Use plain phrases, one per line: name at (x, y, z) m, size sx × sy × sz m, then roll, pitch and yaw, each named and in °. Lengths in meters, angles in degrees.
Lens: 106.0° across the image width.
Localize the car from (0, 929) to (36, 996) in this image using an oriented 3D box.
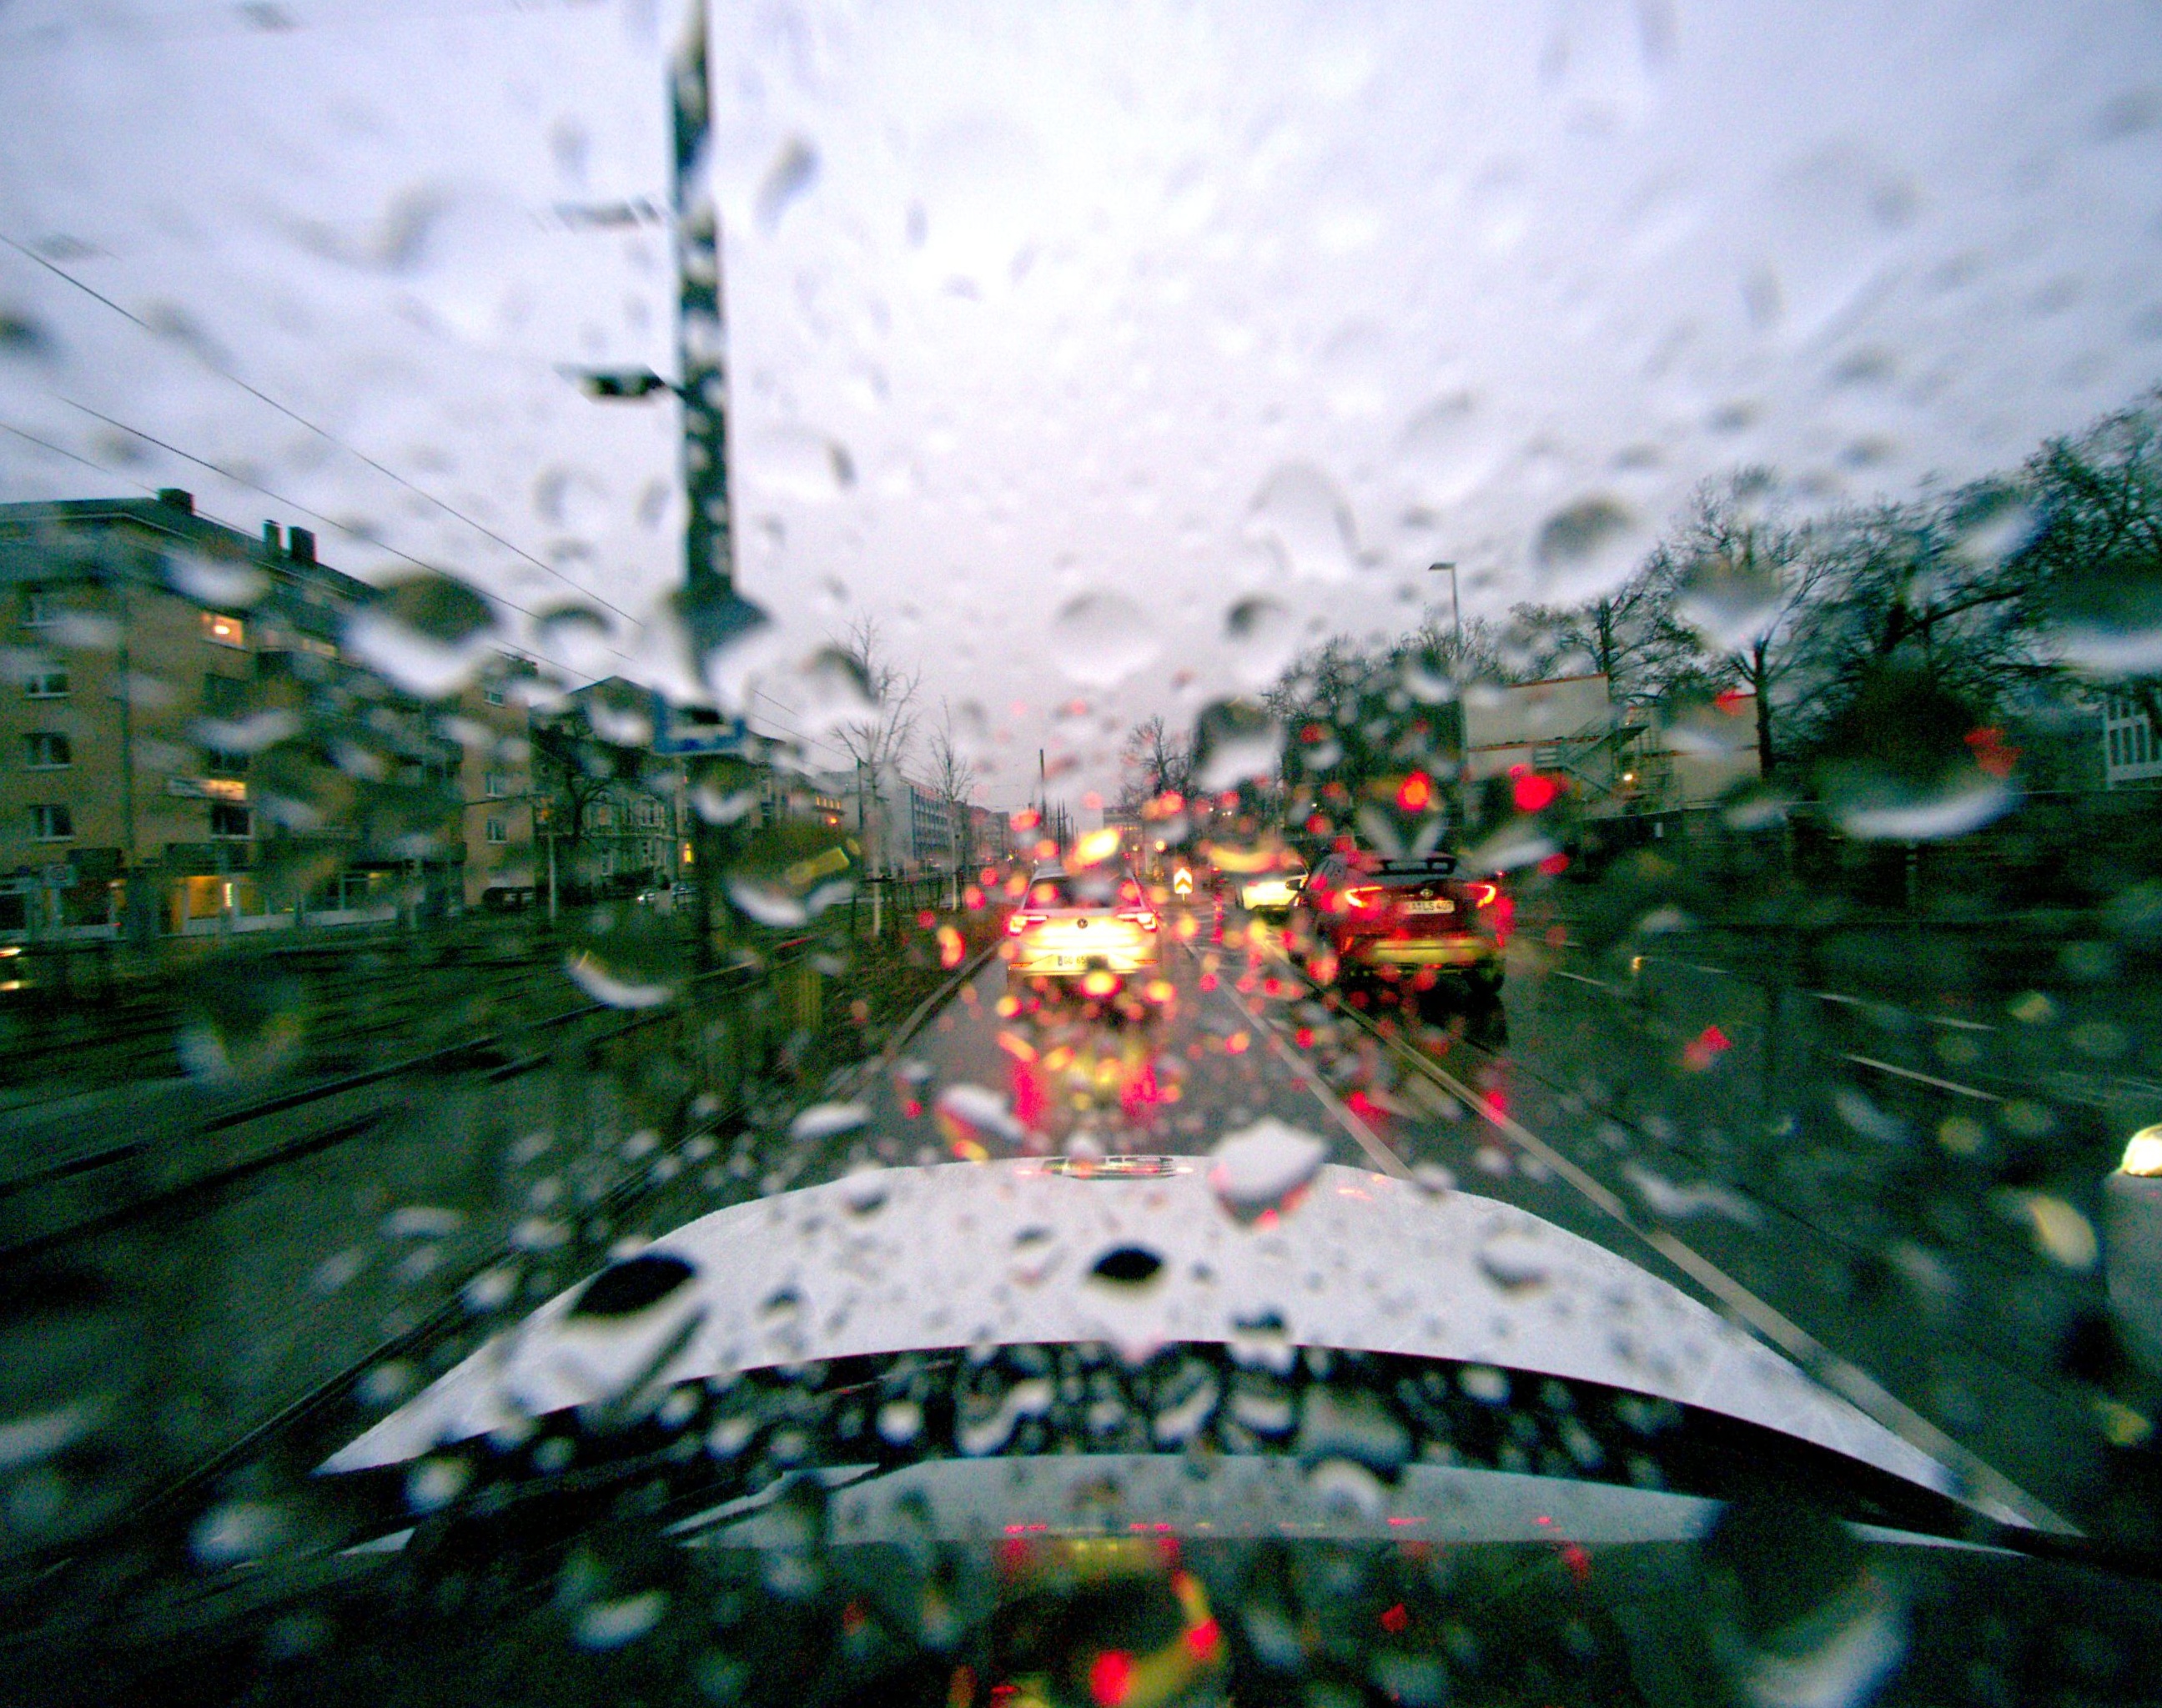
car at (-28.124, 2.698, 19.564) m, size 4.654 × 1.545 × 2.008 m, roll -2°, pitch -1°, yaw 15°

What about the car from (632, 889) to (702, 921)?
car at (-22.773, 2.775, 44.992) m, size 1.795 × 1.585 × 4.000 m, roll -1°, pitch -1°, yaw 0°

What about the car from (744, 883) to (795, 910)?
car at (-20.535, 2.773, 53.905) m, size 1.795 × 1.585 × 4.000 m, roll -1°, pitch -1°, yaw 0°

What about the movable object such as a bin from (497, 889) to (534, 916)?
movable object such as a bin at (-33.470, 2.860, 48.235) m, size 1.105 × 1.480 × 1.424 m, roll -3°, pitch 0°, yaw -2°

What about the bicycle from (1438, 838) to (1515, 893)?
bicycle at (12.338, 0.362, 25.490) m, size 0.691 × 1.657 × 2.230 m, roll 0°, pitch -1°, yaw -23°

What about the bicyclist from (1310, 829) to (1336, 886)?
bicyclist at (7.666, 0.114, 25.847) m, size 0.498 × 1.767 × 0.837 m, roll -3°, pitch 0°, yaw -1°

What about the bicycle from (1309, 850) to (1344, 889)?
bicycle at (7.722, 0.477, 25.695) m, size 0.410 × 1.185 × 2.028 m, roll -3°, pitch 0°, yaw -1°

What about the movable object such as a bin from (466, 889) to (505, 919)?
movable object such as a bin at (-33.664, 2.838, 46.090) m, size 1.105 × 1.561 × 1.424 m, roll -3°, pitch 0°, yaw -2°

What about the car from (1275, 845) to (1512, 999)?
car at (3.486, 0.694, 9.874) m, size 1.713 × 1.479 × 4.007 m, roll -1°, pitch -1°, yaw 6°

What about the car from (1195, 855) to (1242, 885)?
car at (6.305, 0.751, 37.664) m, size 1.617 × 1.299 × 4.002 m, roll -1°, pitch -1°, yaw 2°

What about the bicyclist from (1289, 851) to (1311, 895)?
bicyclist at (8.000, 0.688, 29.810) m, size 0.498 × 1.591 × 0.837 m, roll -3°, pitch 0°, yaw -1°

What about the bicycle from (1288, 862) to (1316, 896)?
bicycle at (8.037, 0.894, 29.697) m, size 0.410 × 1.185 × 1.947 m, roll -3°, pitch 0°, yaw -1°

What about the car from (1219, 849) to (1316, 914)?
car at (4.694, 0.676, 21.015) m, size 1.715 × 1.479 × 4.002 m, roll -1°, pitch -1°, yaw 2°

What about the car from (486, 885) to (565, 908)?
car at (-37.101, 2.824, 54.440) m, size 3.975 × 1.407 × 1.832 m, roll -2°, pitch -1°, yaw -1°

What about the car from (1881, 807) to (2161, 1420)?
car at (3.392, 0.592, 0.180) m, size 1.779 × 1.501 × 4.972 m, roll -1°, pitch -1°, yaw 4°

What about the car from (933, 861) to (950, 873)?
car at (-24.316, 2.258, 142.225) m, size 1.988 × 1.933 × 4.909 m, roll -3°, pitch 0°, yaw -1°

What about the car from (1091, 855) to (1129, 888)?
car at (1.412, 0.831, 39.398) m, size 1.715 × 1.479 × 4.002 m, roll -1°, pitch -1°, yaw 2°

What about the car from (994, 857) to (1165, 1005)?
car at (0.068, 0.785, 10.200) m, size 1.715 × 1.479 × 4.002 m, roll -1°, pitch 0°, yaw 2°

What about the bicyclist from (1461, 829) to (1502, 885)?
bicyclist at (12.395, 0.088, 25.218) m, size 0.698 × 1.679 × 0.811 m, roll -2°, pitch -1°, yaw -25°

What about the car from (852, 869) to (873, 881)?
car at (-30.313, 2.909, 113.127) m, size 1.801 × 1.436 × 3.925 m, roll -3°, pitch 0°, yaw -1°
